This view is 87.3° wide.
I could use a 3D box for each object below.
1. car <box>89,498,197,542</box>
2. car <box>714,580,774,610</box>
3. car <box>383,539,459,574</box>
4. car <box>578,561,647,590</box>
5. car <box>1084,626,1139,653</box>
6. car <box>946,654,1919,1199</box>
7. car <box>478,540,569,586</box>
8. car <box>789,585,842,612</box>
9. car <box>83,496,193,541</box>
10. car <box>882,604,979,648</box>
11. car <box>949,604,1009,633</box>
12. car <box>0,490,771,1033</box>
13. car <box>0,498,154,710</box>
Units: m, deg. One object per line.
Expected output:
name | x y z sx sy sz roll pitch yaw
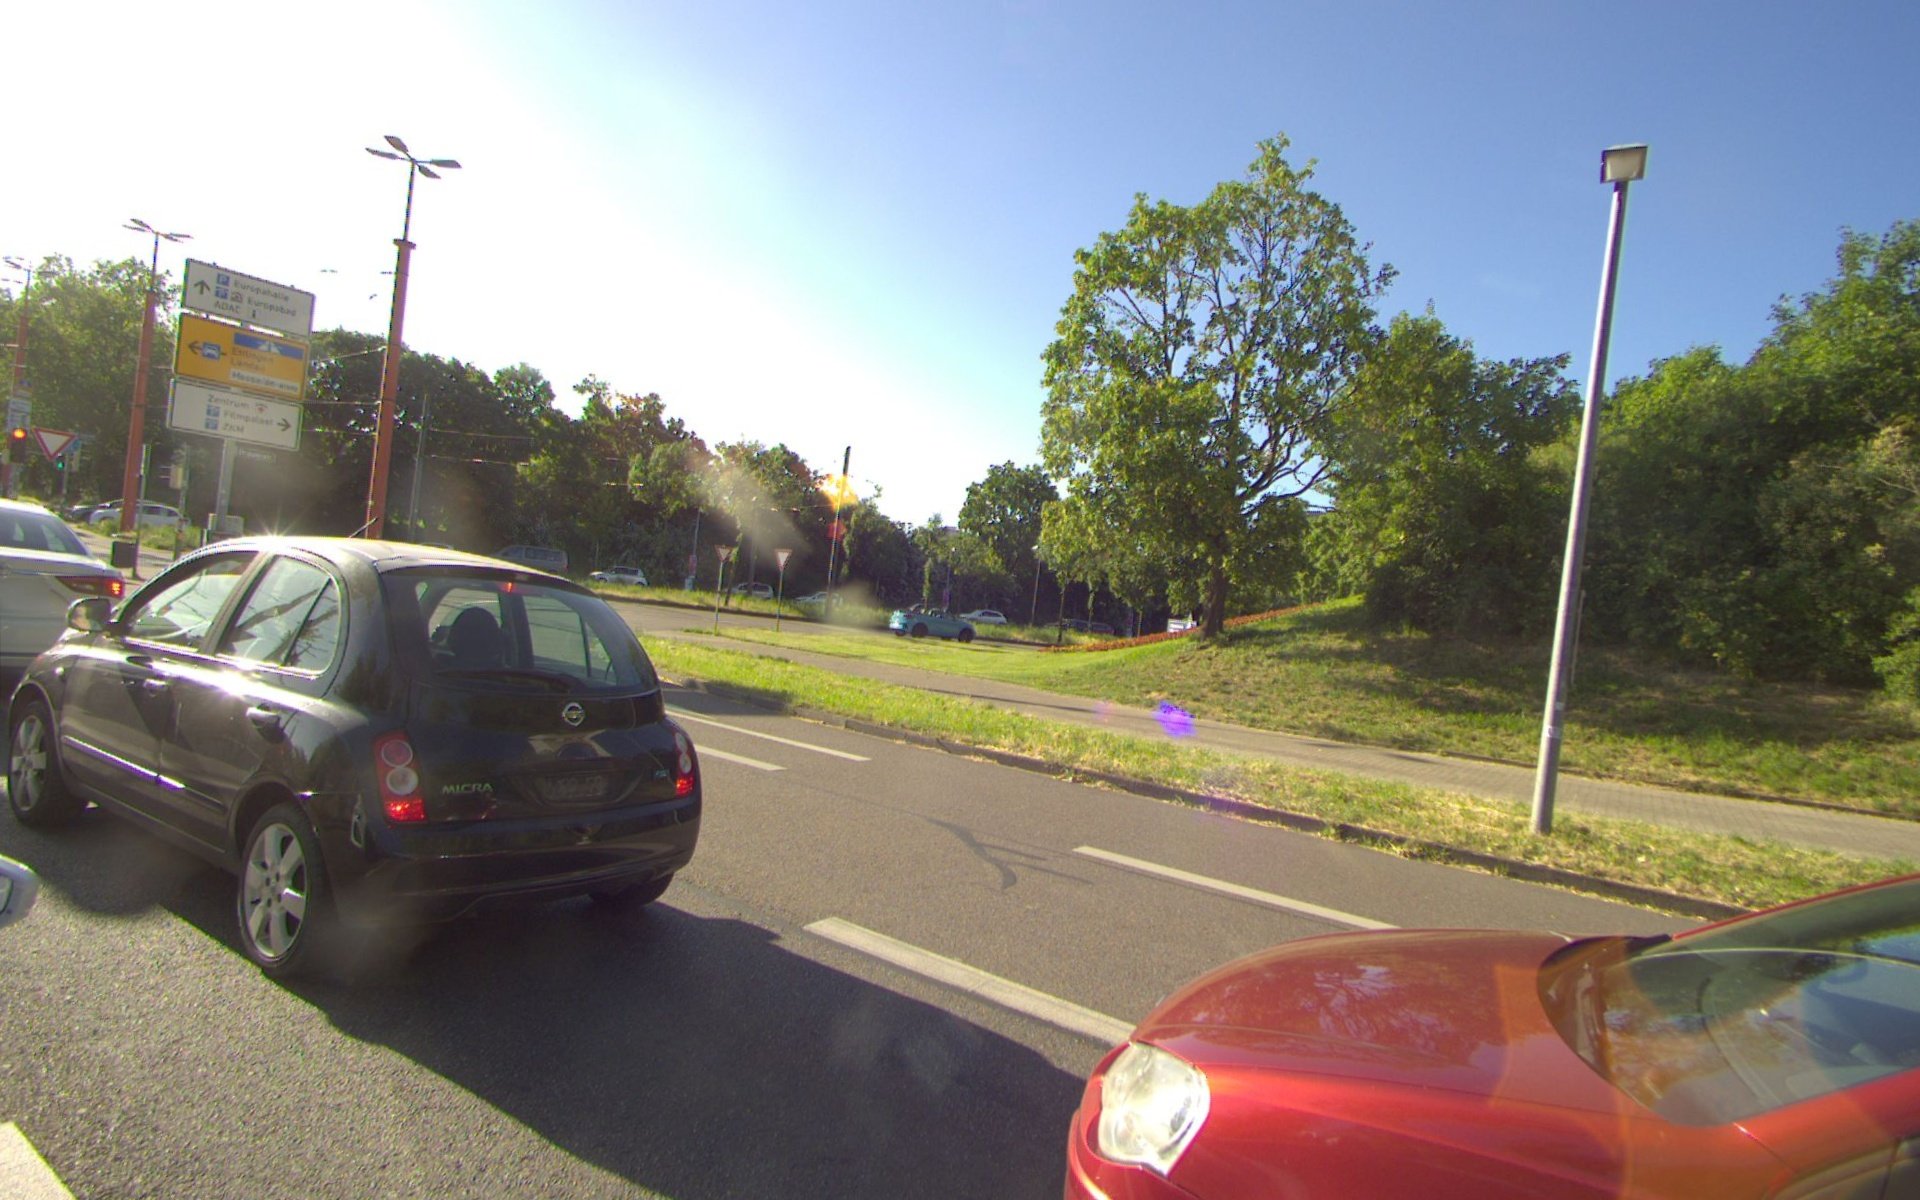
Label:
car | -40.167 -3.889 49.579 3.792 1.541 1.681 8 -1 -32
car | -13.989 -0.324 65.250 3.371 1.475 1.452 8 -1 -32
car | -31.343 -2.543 58.494 3.710 1.491 1.587 8 -1 -32
car | -22.146 -1.532 64.157 3.804 1.278 1.590 9 -3 -32
car | 12.865 3.351 85.187 4.257 1.725 1.833 8 -1 -29
car | 1.978 1.065 1.485 3.700 1.455 1.644 6 -2 33
car | -25.428 -2.121 58.623 4.535 2.038 1.985 8 -1 -30
car | -10.242 -0.092 71.370 3.409 1.384 1.282 9 -2 -28
car | -42.727 -4.216 52.411 4.091 1.663 1.837 8 -1 -32
car | -1.346 1.193 46.225 4.095 1.469 1.721 7 2 -36
car | 1.480 1.454 78.211 4.195 1.701 1.690 8 -1 -29
car | -2.852 0.466 4.711 3.555 1.518 1.657 7 -2 32
car | -8.360 -0.174 8.025 4.130 1.454 1.723 7 -1 33
